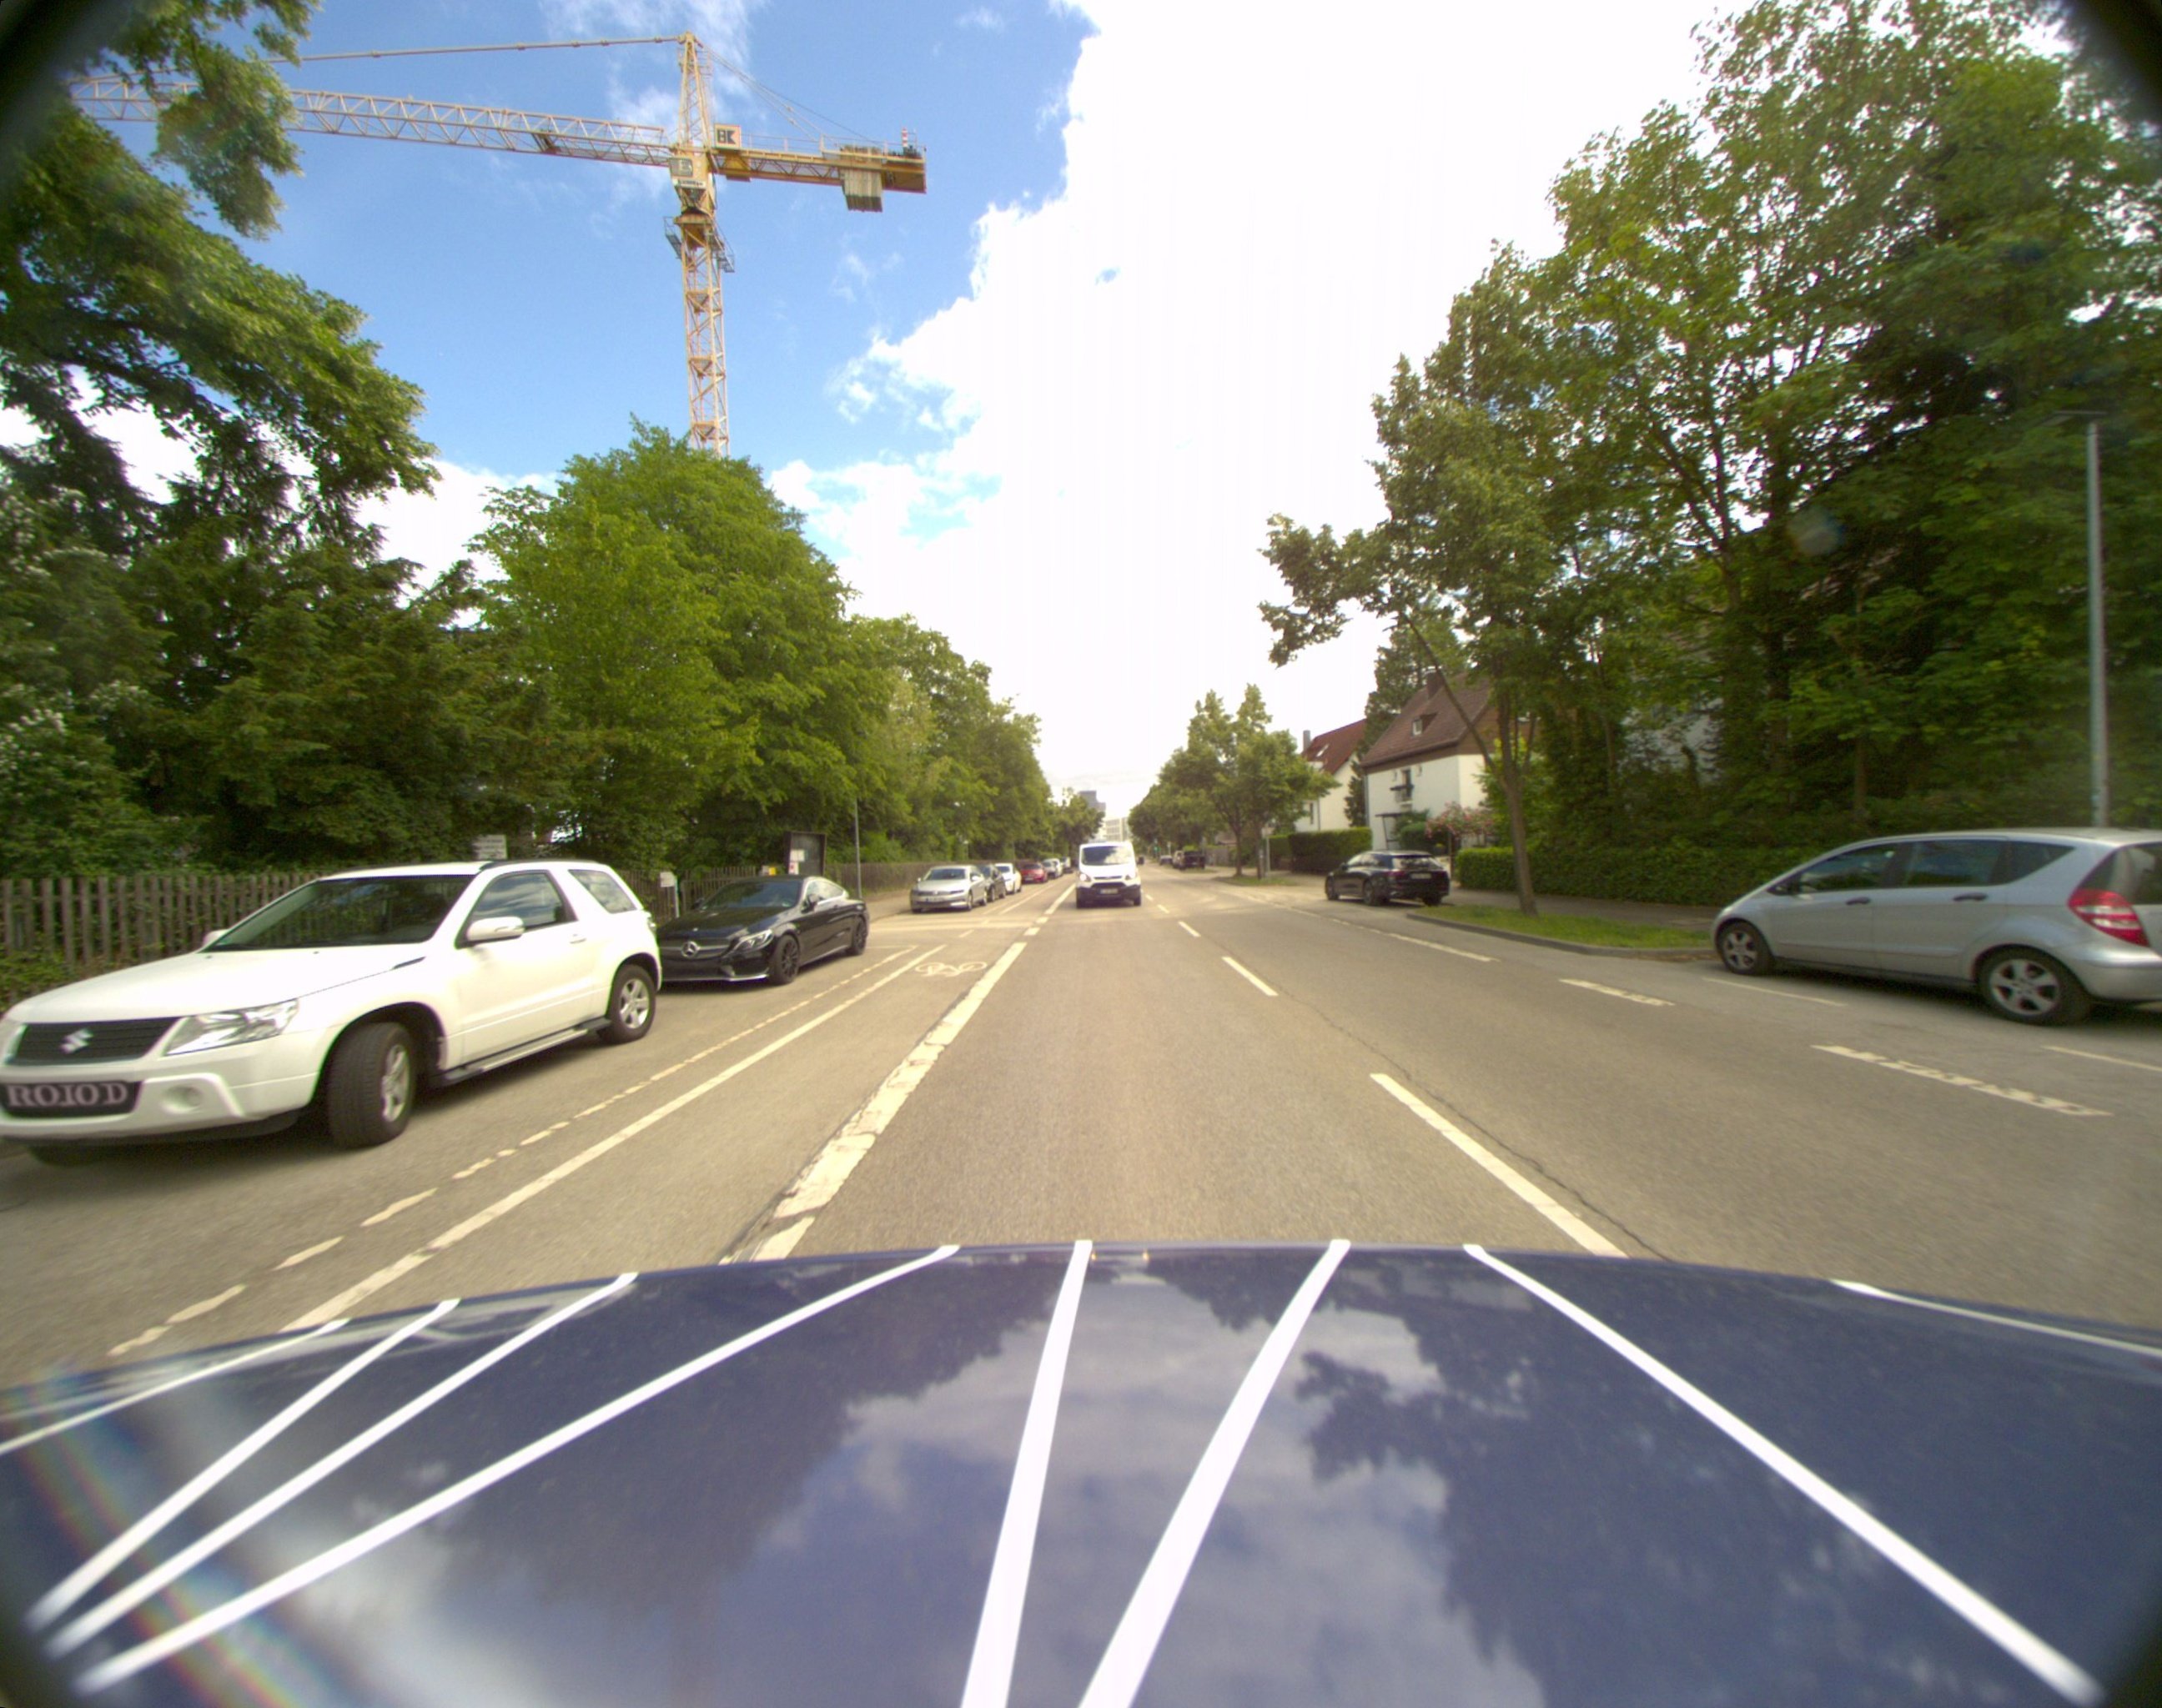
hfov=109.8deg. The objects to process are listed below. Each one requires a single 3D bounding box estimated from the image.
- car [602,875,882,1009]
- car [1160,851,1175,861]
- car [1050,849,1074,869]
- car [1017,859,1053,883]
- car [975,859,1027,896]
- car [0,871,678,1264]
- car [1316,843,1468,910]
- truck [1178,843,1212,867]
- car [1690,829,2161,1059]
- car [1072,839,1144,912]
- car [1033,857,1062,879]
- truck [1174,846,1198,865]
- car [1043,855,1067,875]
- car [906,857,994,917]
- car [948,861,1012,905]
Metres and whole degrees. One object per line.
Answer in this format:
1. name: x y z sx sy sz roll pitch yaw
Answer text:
1. car: -4.628 1.111 11.306 1.868 1.408 4.603 -2 0 3
2. car: 12.188 0.279 107.162 1.750 1.400 4.927 -1 0 2
3. car: -1.968 0.508 78.558 1.998 1.805 4.827 -3 1 3
4. car: -3.079 1.114 51.522 1.863 1.405 4.444 -4 0 3
5. car: -3.735 1.053 35.996 1.772 1.501 4.031 -2 1 3
6. car: -5.015 1.039 5.507 1.905 1.633 4.116 -2 1 0
7. car: 8.535 0.575 21.455 2.100 1.637 5.038 -1 0 -1
8. truck: 10.585 0.073 71.106 2.428 2.031 5.995 -2 0 2
9. car: 8.273 0.611 7.286 1.722 1.604 3.910 -2 0 0
10. car: 0.919 0.595 24.821 1.998 2.002 5.189 -4 1 3
11. car: -2.647 1.093 60.777 1.820 1.506 4.680 -4 1 2
12. truck: 10.799 0.166 78.370 1.971 1.857 5.665 -1 0 3
13. car: -2.244 0.969 67.200 1.867 1.580 4.421 -3 0 1
14. car: -4.181 1.003 25.051 1.866 1.602 4.686 -3 1 2
15. car: -3.944 1.096 30.426 1.706 1.501 4.538 -3 0 3
